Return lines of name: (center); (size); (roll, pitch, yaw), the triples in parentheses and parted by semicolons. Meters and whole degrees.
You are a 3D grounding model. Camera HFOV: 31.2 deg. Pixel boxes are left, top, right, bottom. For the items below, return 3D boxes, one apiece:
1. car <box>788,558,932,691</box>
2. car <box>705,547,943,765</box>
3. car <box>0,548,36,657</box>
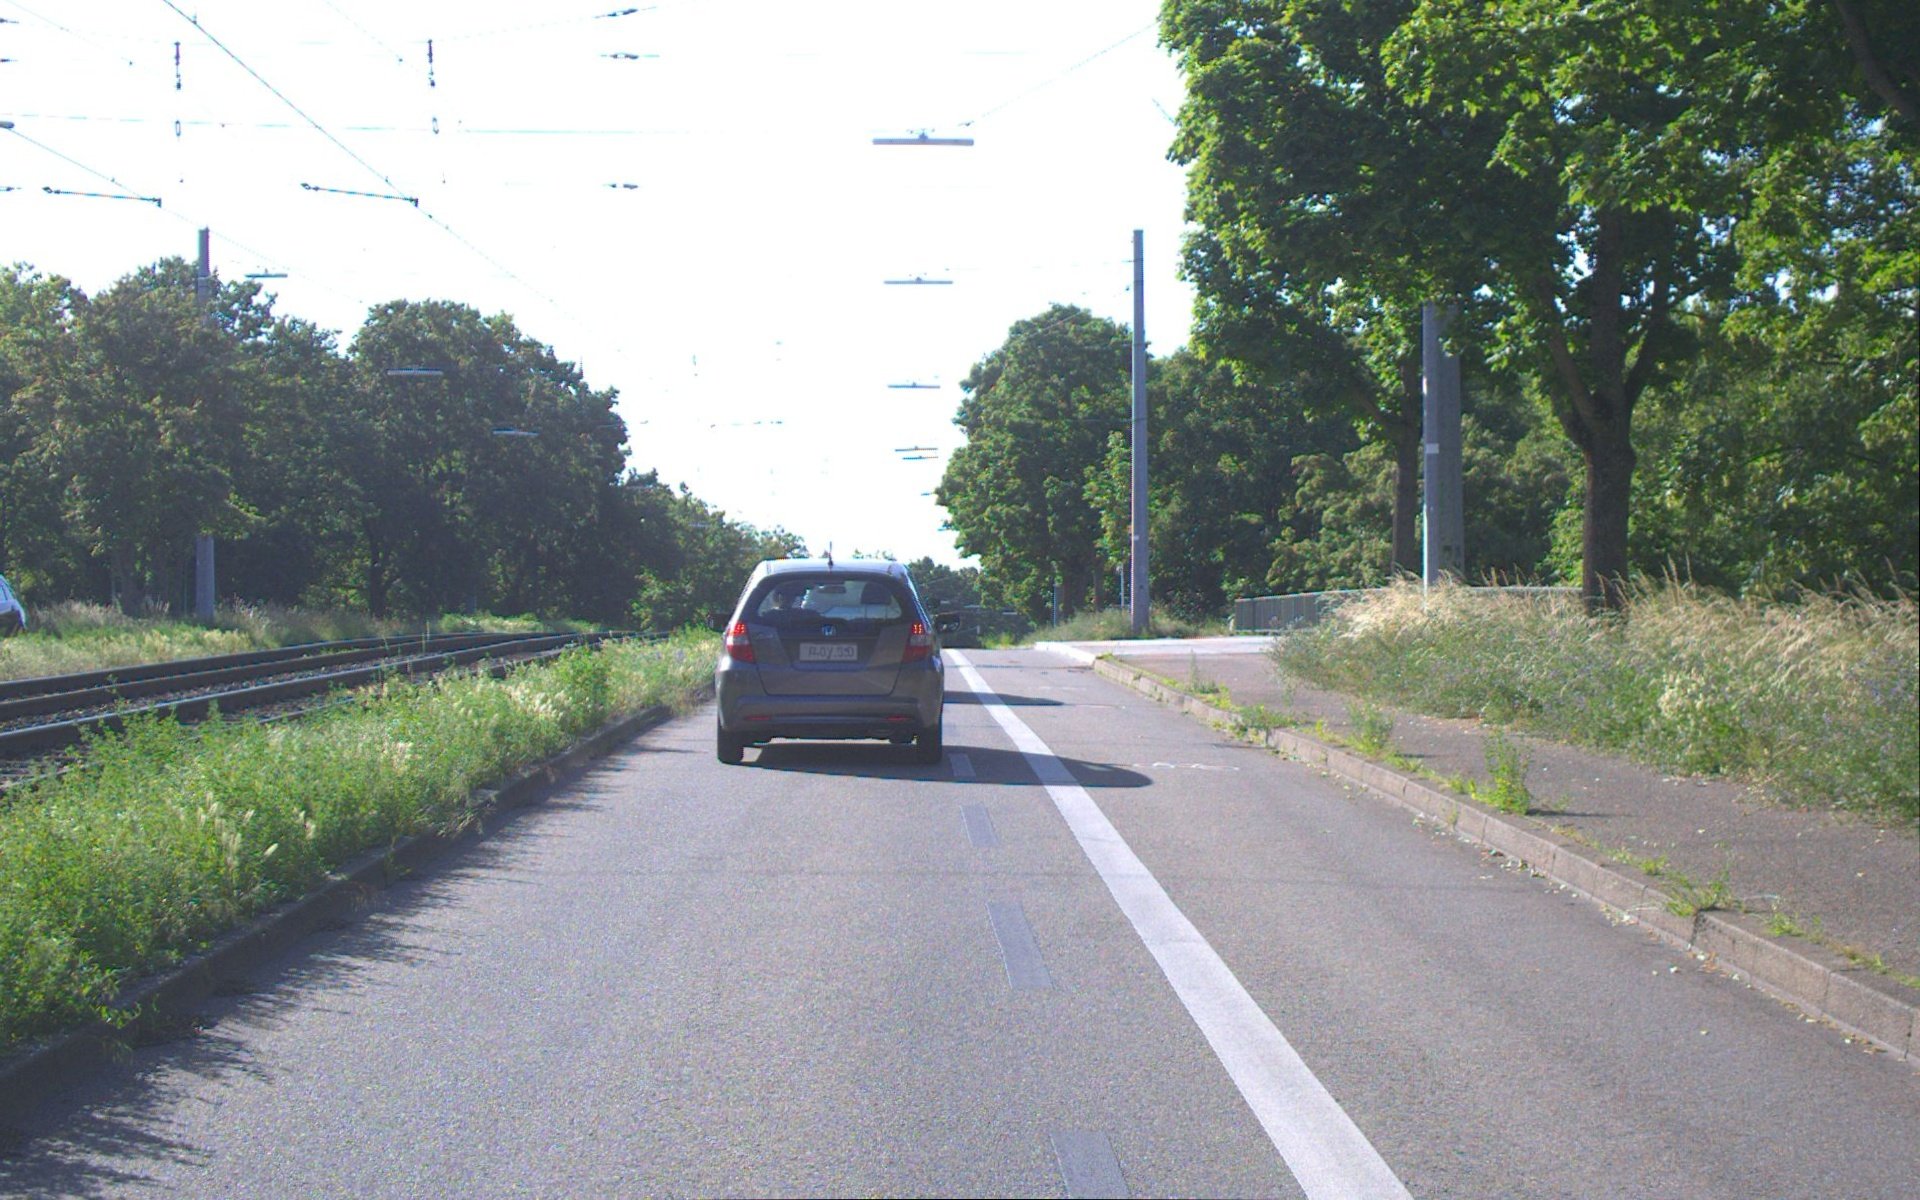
car: (-1.192, 0.267, 42.516); (1.654, 1.502, 3.811); (1, 1, 0)
car: (-1.011, 0.373, 26.534); (1.670, 1.502, 3.811); (1, 1, -1)
car: (-14.091, 0.030, 46.756); (1.809, 1.483, 4.406); (1, 1, 0)
